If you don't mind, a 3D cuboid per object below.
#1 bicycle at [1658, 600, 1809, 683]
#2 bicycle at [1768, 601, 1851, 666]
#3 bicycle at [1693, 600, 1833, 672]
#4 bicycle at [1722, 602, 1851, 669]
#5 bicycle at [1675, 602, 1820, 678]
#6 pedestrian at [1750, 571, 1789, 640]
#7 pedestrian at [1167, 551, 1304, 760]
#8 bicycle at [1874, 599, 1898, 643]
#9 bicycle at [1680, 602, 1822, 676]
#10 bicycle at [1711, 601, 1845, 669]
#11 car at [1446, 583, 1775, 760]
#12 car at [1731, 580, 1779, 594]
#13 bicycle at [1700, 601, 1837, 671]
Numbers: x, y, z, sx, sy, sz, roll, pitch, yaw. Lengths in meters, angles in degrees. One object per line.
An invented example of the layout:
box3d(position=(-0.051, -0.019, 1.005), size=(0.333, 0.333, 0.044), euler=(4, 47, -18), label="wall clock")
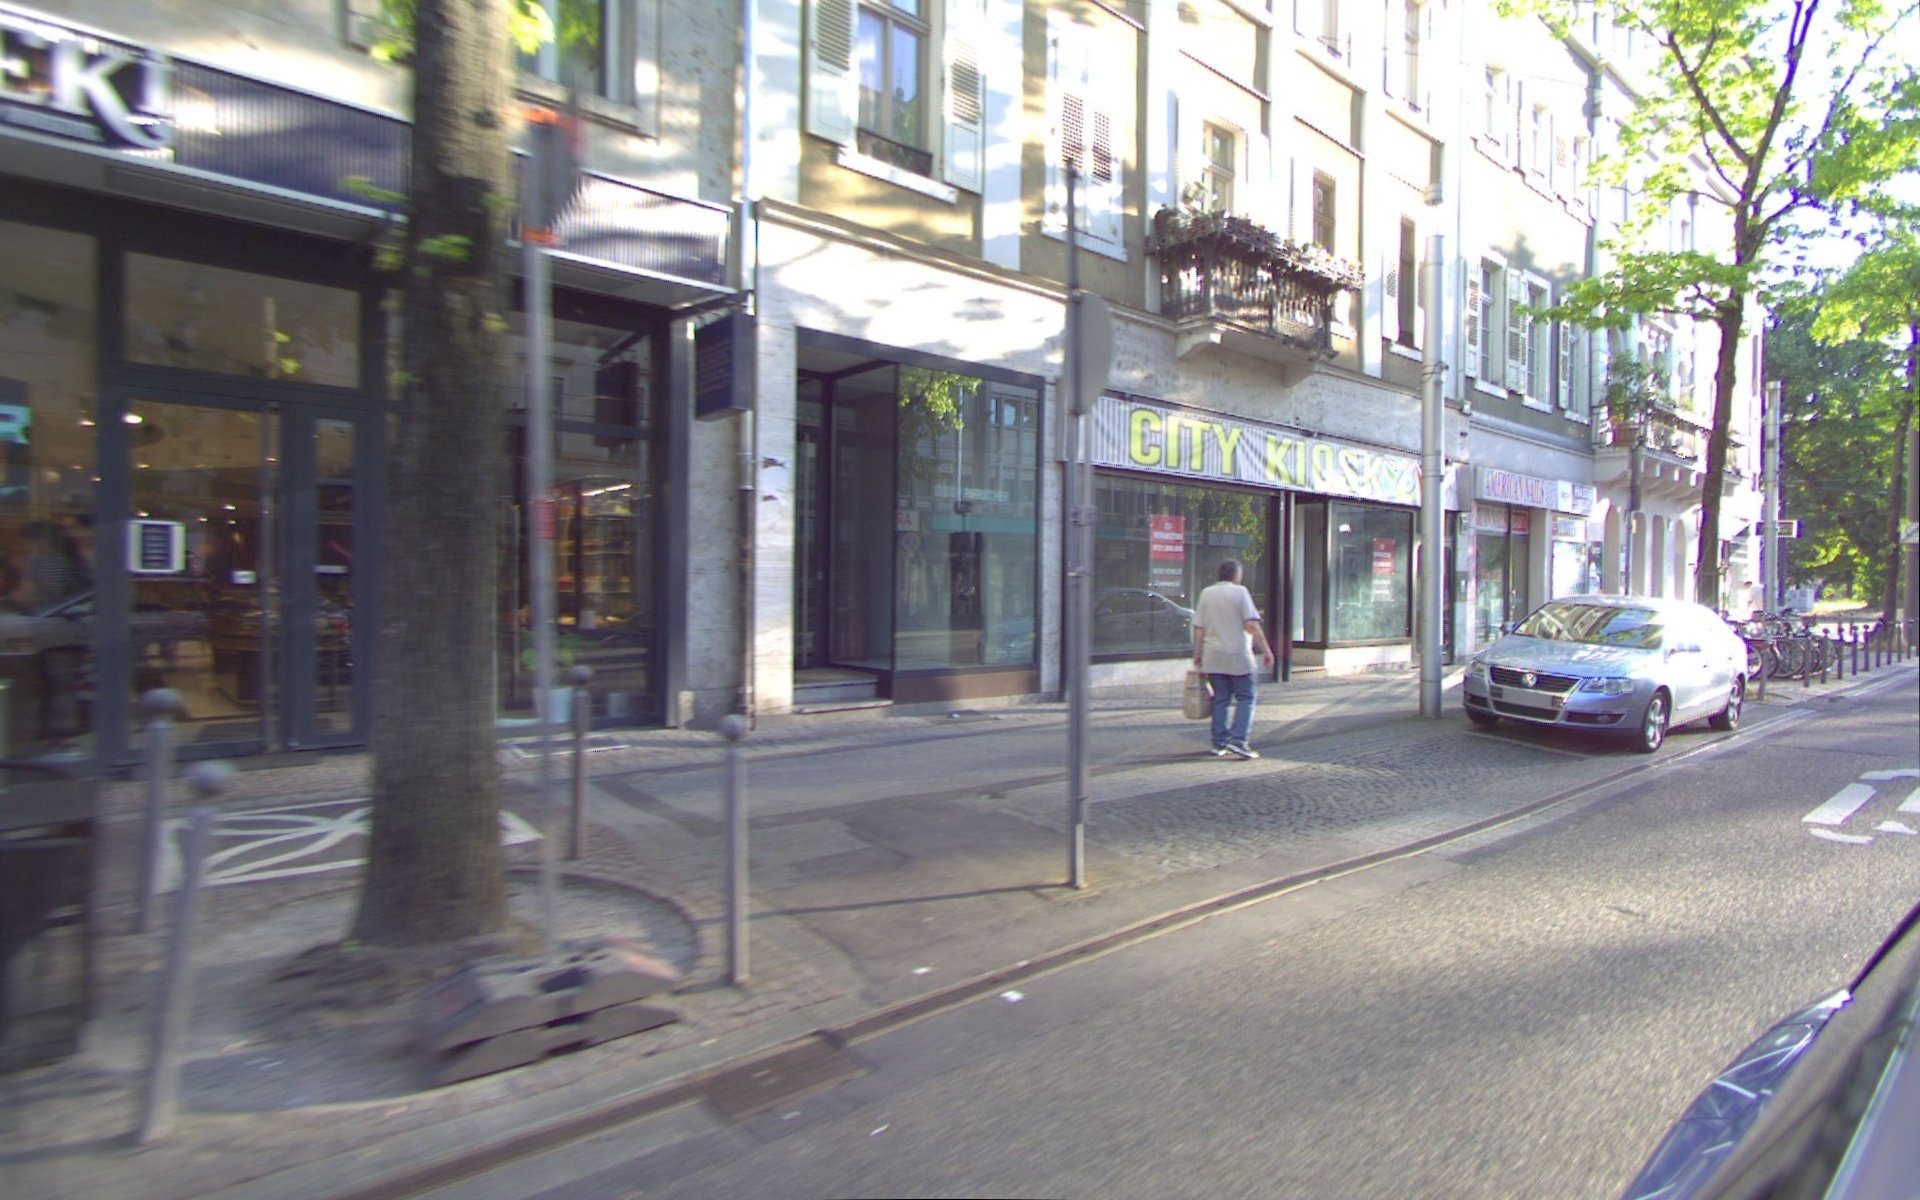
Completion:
box3d(position=(12.848, 0.652, 16.868), size=(0.552, 1.168, 1.872), euler=(-1, 4, -38), label="bicycle")
box3d(position=(16.574, 0.630, 19.787), size=(0.454, 1.169, 1.677), euler=(0, 1, 10), label="bicycle")
box3d(position=(14.275, 0.601, 18.038), size=(0.552, 1.169, 1.871), euler=(-1, 2, -38), label="bicycle")
box3d(position=(15.735, 0.642, 19.320), size=(0.341, 1.169, 1.871), euler=(-1, 2, -38), label="bicycle")
box3d(position=(13.381, 0.653, 17.243), size=(0.552, 1.169, 1.871), euler=(-1, 2, -38), label="bicycle")
box3d(position=(24.503, 0.141, 30.633), size=(0.843, 2.038, 0.831), euler=(1, 1, 43), label="pedestrian")
box3d(position=(2.339, 0.428, 8.607), size=(0.742, 1.663, 0.805), euler=(0, 2, -40), label="pedestrian")
box3d(position=(24.634, 0.549, 26.905), size=(1.671, 1.090, 0.354), euler=(-1, 2, -44), label="bicycle")
box3d(position=(13.781, 0.646, 17.686), size=(0.552, 1.169, 1.871), euler=(-1, 2, -38), label="bicycle")
box3d(position=(15.271, 0.624, 18.935), size=(0.552, 1.169, 1.871), euler=(-1, 2, -38), label="bicycle")
box3d(position=(7.302, 0.614, 11.193), size=(4.344, 1.457, 1.781), euler=(-1, 5, -40), label="car")
box3d(position=(90.982, -1.495, 115.876), size=(4.428, 1.625, 2.004), euler=(0, 1, -13), label="car")
box3d(position=(14.747, 0.631, 18.504), size=(0.552, 1.169, 1.871), euler=(-1, 2, -38), label="bicycle")
